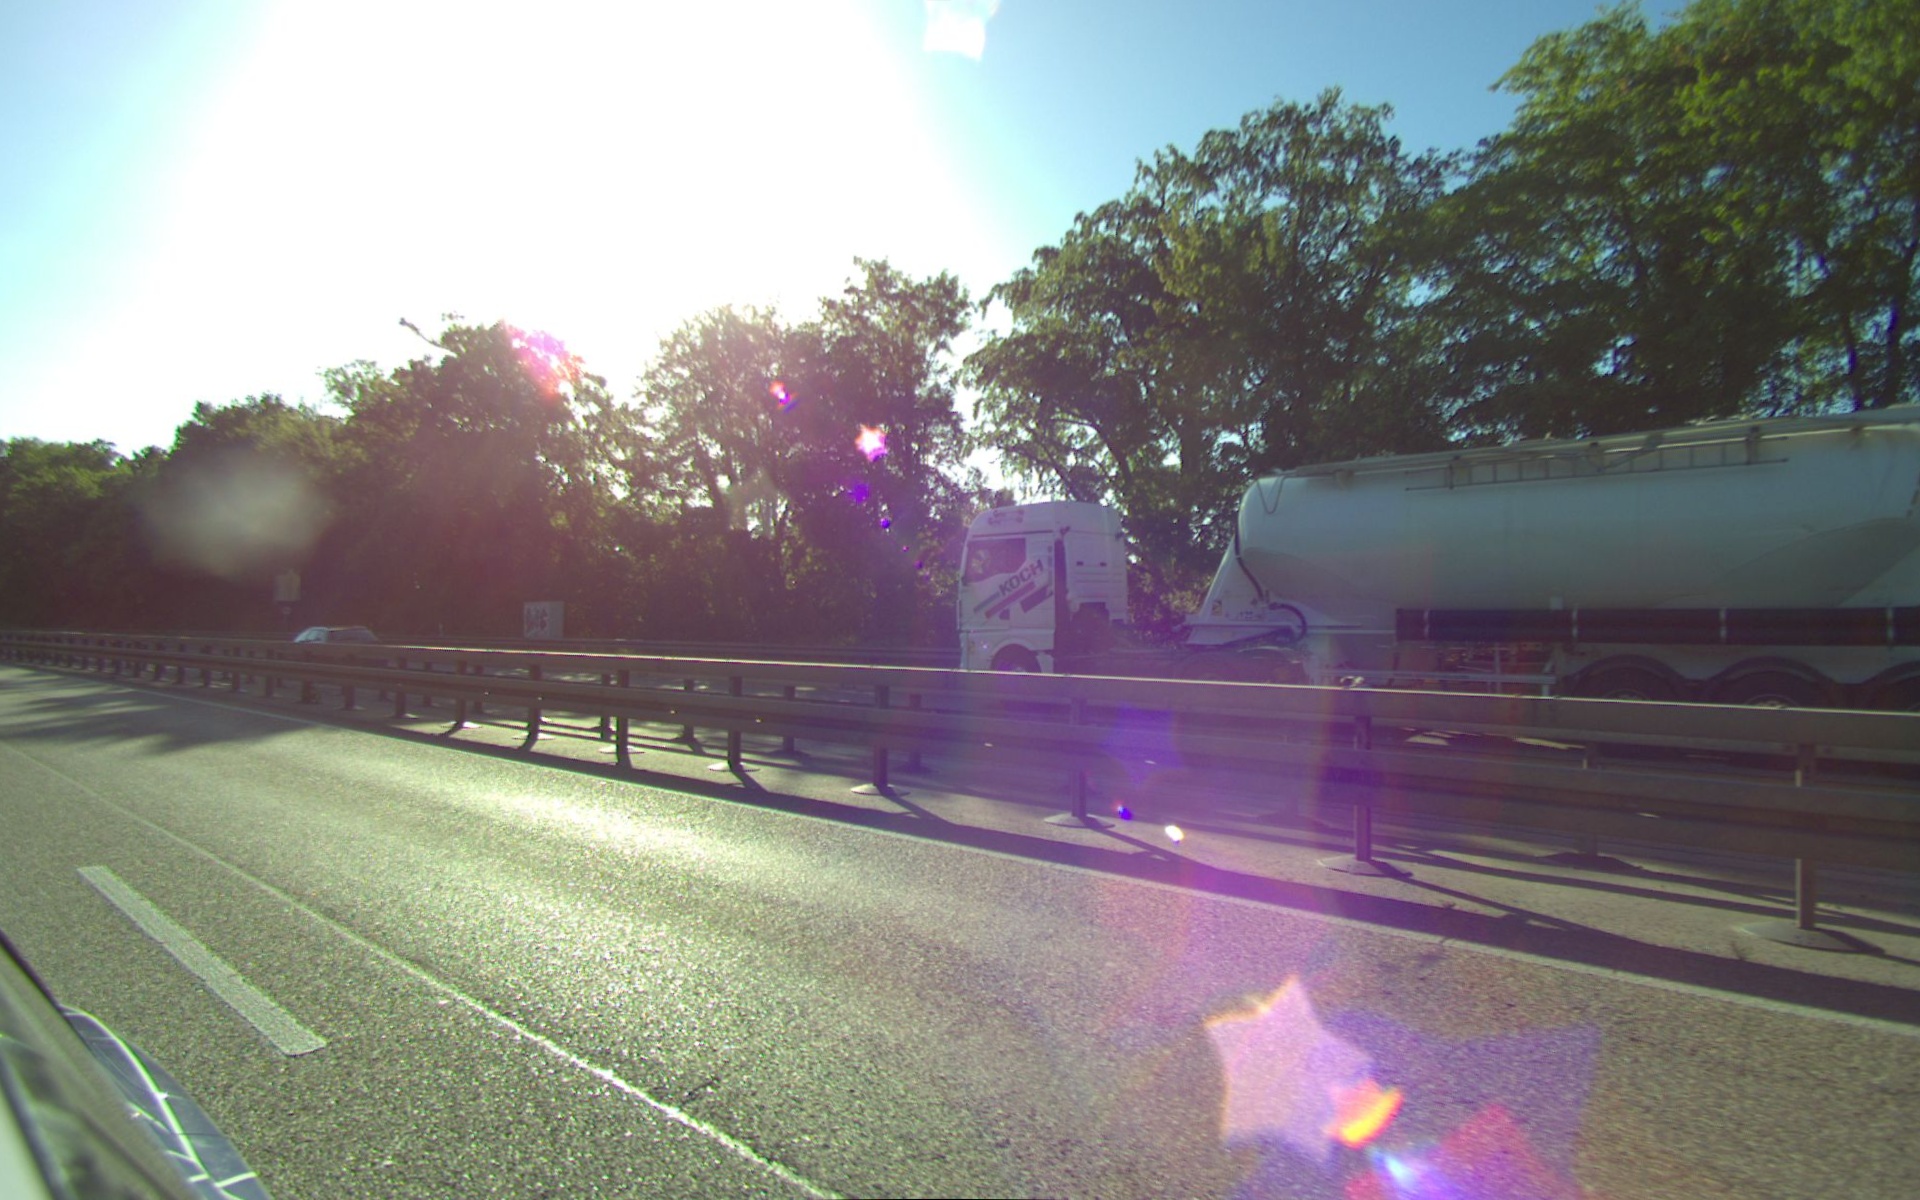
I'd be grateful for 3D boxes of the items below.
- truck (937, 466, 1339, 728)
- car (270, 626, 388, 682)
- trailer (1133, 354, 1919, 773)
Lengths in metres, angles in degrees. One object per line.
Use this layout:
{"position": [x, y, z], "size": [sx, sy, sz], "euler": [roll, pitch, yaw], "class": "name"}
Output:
{"position": [2.847, 0.036, 17.306], "size": [6.154, 3.658, 2.949], "euler": [-1, -2, 42], "class": "truck"}
{"position": [-18.259, 1.508, 29.237], "size": [4.088, 1.478, 1.649], "euler": [-1, -2, 39], "class": "car"}
{"position": [7.752, -0.271, 13.036], "size": [10.967, 4.028, 3.020], "euler": [-1, -2, 41], "class": "trailer"}
